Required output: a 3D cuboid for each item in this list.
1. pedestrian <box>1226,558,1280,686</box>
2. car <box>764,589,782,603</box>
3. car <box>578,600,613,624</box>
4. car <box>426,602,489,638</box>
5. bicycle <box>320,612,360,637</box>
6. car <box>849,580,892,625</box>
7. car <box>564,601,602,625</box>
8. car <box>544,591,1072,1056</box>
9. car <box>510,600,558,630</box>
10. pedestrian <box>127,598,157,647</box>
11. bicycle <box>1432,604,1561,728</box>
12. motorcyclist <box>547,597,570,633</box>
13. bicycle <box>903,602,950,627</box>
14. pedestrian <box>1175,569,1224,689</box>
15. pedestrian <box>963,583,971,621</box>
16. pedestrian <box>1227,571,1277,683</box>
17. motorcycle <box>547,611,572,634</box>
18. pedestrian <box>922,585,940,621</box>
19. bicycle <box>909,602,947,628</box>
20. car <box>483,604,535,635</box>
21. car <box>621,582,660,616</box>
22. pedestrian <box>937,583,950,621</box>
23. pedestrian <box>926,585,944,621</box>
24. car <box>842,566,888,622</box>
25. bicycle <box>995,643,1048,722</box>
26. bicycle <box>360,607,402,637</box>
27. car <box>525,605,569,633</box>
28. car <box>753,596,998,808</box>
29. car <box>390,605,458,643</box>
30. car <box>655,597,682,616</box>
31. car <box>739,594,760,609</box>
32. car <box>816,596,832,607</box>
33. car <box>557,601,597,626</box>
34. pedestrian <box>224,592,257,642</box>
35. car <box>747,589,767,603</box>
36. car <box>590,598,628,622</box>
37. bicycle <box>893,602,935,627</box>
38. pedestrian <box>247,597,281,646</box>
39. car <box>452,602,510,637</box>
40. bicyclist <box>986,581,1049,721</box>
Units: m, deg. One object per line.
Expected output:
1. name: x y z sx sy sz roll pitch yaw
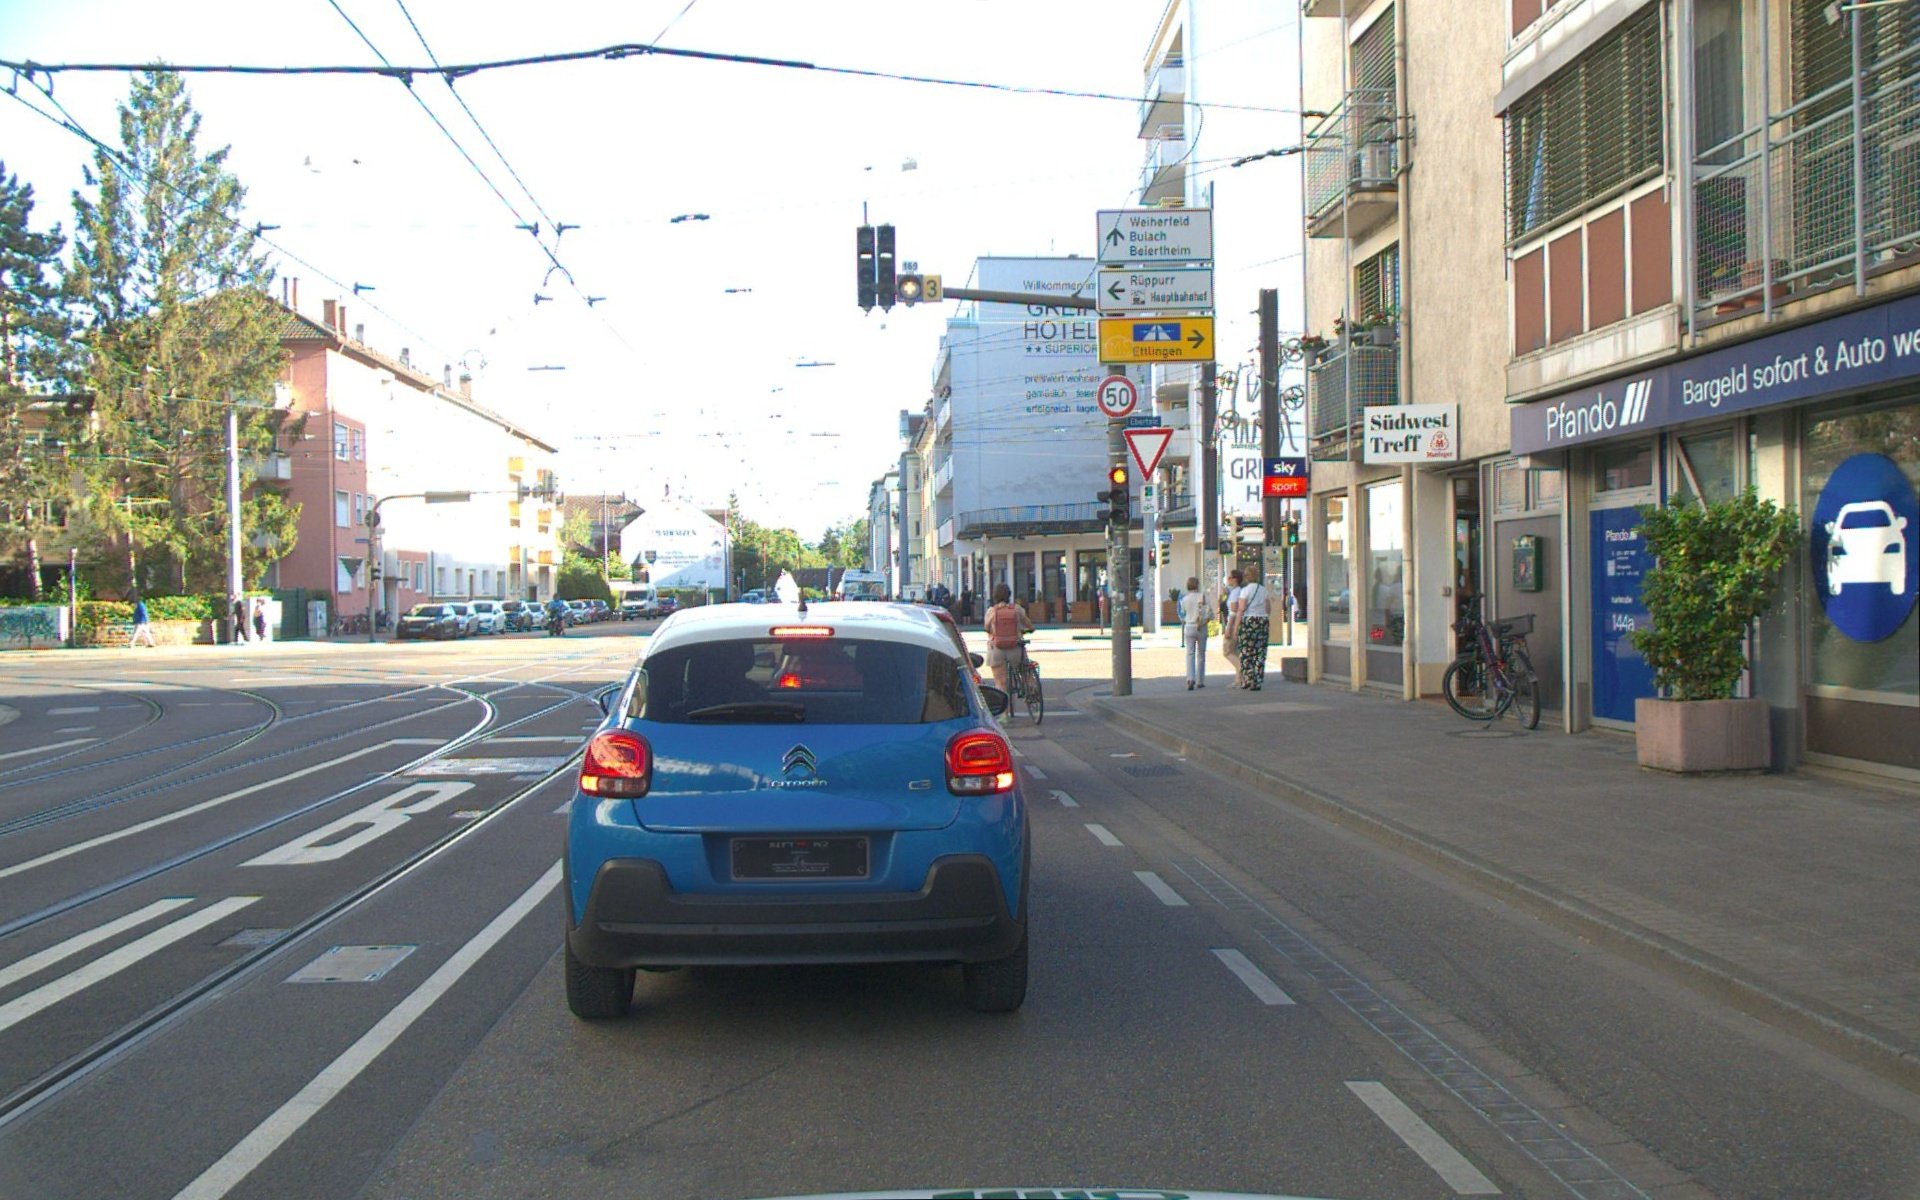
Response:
1. pedestrian: 4.017 0.298 22.708 0.530 1.701 0.650 -3 0 -3
2. car: -24.329 -0.504 215.118 1.957 1.713 3.990 -1 0 -10
3. car: -25.506 0.809 115.755 1.833 1.601 3.997 -1 0 -4
4. car: -22.501 0.883 74.189 1.874 1.523 3.996 -1 0 -5
5. bicycle: -25.066 0.986 66.939 0.718 0.968 2.596 -1 0 -2
6. car: -3.661 0.101 67.452 1.698 1.780 3.211 0 0 -4
7. car: -25.188 0.855 110.667 1.874 1.523 3.996 -1 0 -5
8. car: -0.708 0.710 7.388 1.710 1.488 3.994 0 0 -7
9. car: -23.598 0.817 91.716 1.874 1.523 3.996 -1 0 -5
10. pedestrian: -27.785 0.754 56.202 0.840 1.654 0.509 -1 0 -34
11. bicycle: 5.106 0.599 15.837 0.519 1.091 1.809 -1 0 -4
12. motorcyclist: -16.216 0.602 66.856 0.704 1.402 0.911 -1 0 -1
13. bicycle: -1.359 0.597 67.011 1.835 0.973 0.702 -1 0 1
14. pedestrian: 3.506 0.407 24.236 0.530 1.701 0.624 -3 2 -3
15. pedestrian: 0.283 0.077 70.134 0.279 1.583 0.304 -1 0 -10
16. pedestrian: 4.159 0.372 23.580 0.530 1.534 0.611 -3 2 -3
17. motorcycle: -16.223 0.894 67.011 0.603 0.879 1.670 -1 0 -1
18. pedestrian: -1.304 0.134 74.282 0.637 1.583 0.490 -1 0 -23
19. bicycle: -1.255 0.597 65.953 1.473 0.973 0.702 -1 0 1
20. car: -23.317 0.983 85.582 1.874 1.523 3.996 -1 0 -5
21. car: -22.938 -0.089 118.945 2.164 2.290 4.672 -1 0 -5
22. pedestrian: -0.685 0.079 69.727 0.482 1.583 0.383 -1 0 -4
23. pedestrian: -1.099 0.131 72.481 0.637 1.583 0.490 -1 0 -23
24. car: -4.158 -0.245 72.360 1.954 2.366 3.997 0 0 -4
25. bicycle: 0.753 1.007 20.581 0.489 0.879 1.748 -1 0 -3
26. bicycle: -25.710 0.957 73.531 0.831 1.247 3.302 -1 0 -2
27. car: -24.261 1.094 97.278 1.874 1.523 3.996 -1 0 -5
28. car: -0.619 0.713 13.612 1.703 1.445 3.999 -1 0 -1
29. car: -22.143 0.957 68.468 1.874 1.458 3.995 -1 0 -6
30. car: -25.365 0.563 144.085 1.982 1.552 3.996 -1 0 -5
31. car: -21.520 0.149 169.060 1.982 1.552 3.996 -1 0 -5
32. car: -16.680 0.149 203.198 1.722 1.281 3.826 -1 0 -8
33. car: -24.462 0.846 105.679 1.874 1.523 3.996 -1 0 -5
34. pedestrian: -25.515 0.595 58.647 0.826 1.720 0.737 -1 0 2
35. car: -22.942 -0.439 187.080 1.982 1.552 3.996 -1 0 -5
36. car: -25.713 0.719 121.177 1.990 1.647 4.508 -1 0 -3
37. bicycle: -1.893 0.603 68.362 1.684 0.973 0.702 -1 0 1
38. pedestrian: -24.521 0.746 58.275 0.826 1.720 0.737 -1 0 2
39. car: -22.779 0.914 78.809 1.874 1.523 3.996 -1 0 -5
40. bicyclist: 0.695 0.609 20.278 0.711 1.674 0.790 -1 0 -1
